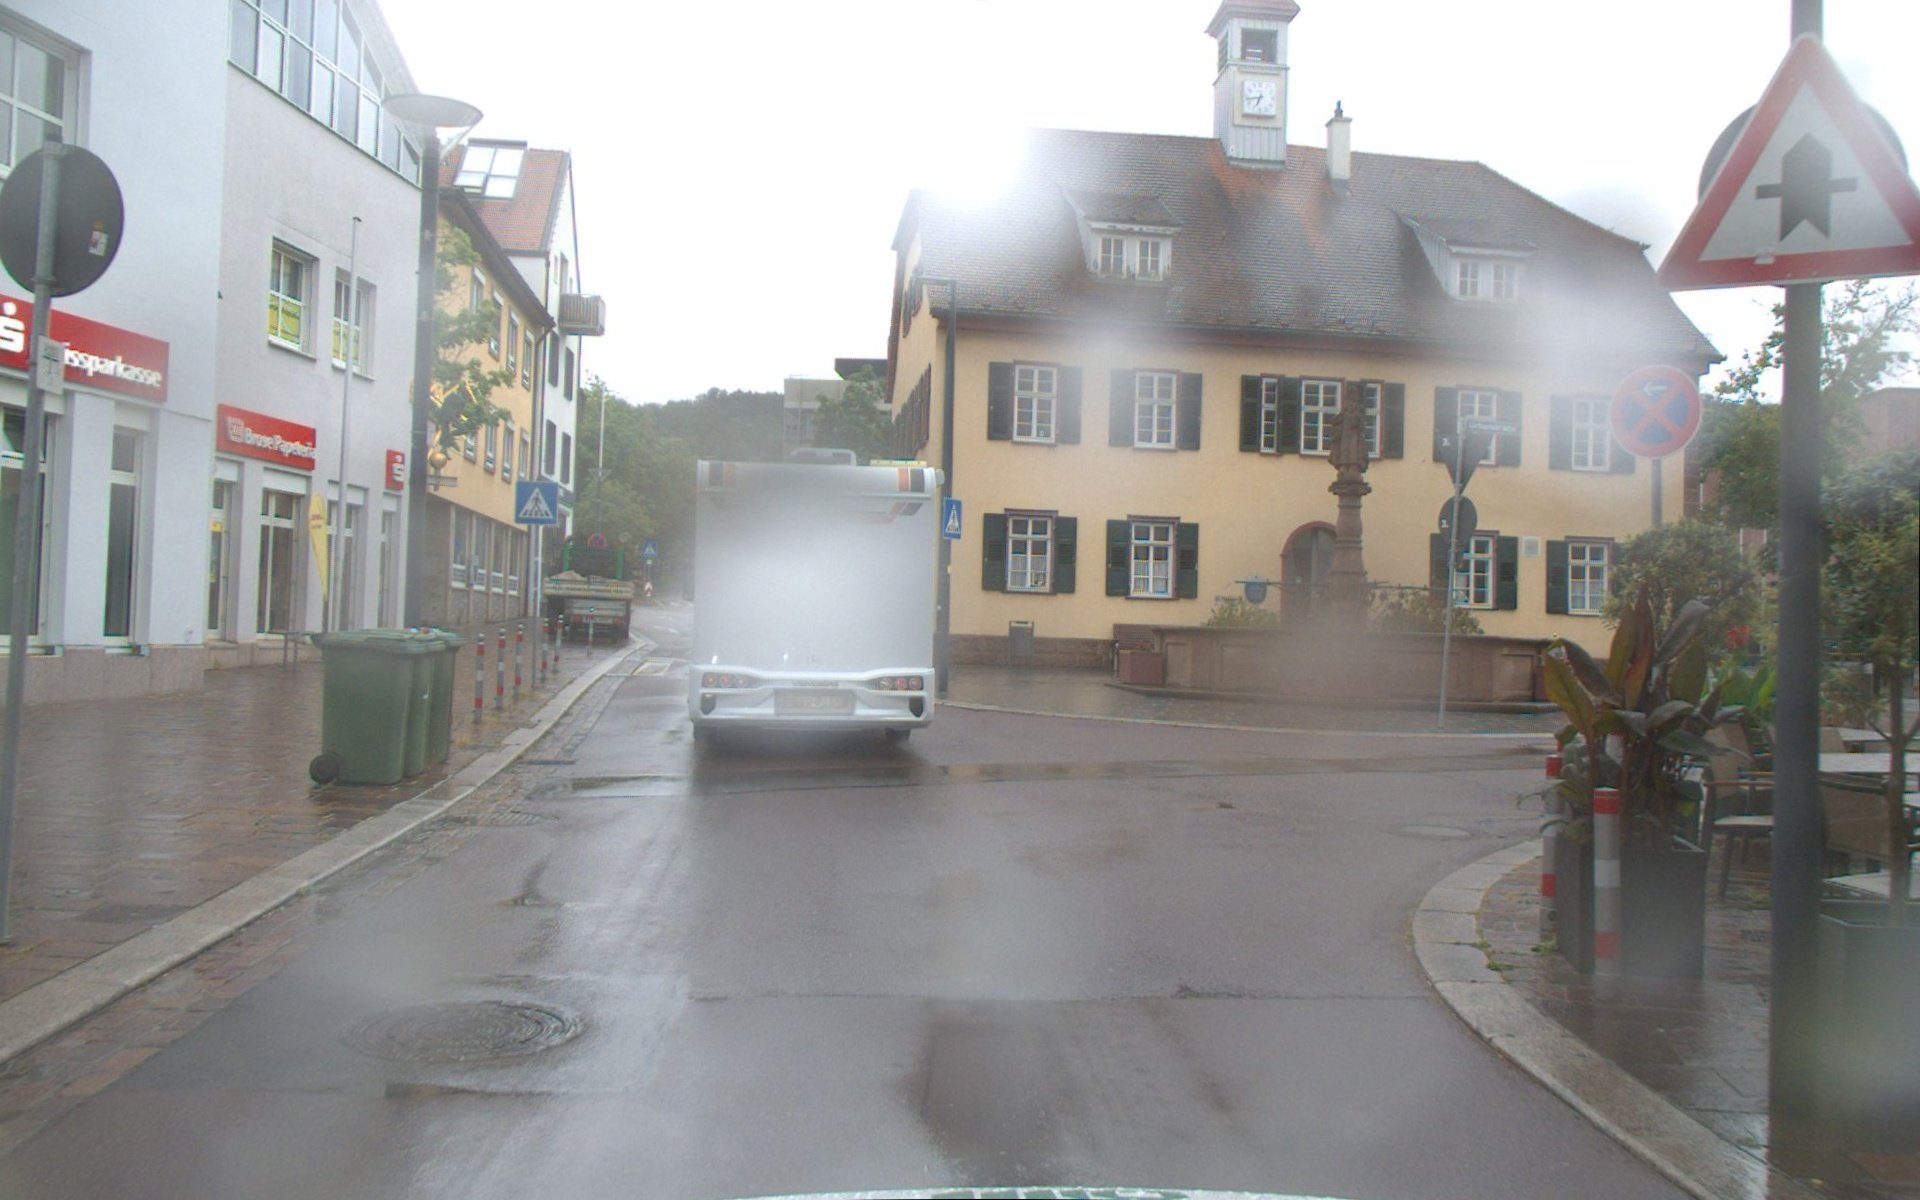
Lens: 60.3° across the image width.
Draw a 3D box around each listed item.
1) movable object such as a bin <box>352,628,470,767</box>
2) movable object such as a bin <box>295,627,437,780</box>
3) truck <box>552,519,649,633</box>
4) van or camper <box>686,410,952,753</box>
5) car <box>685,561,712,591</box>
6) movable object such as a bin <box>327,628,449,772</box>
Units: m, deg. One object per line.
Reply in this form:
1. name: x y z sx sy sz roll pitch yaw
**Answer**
1. movable object such as a bin: -4.475 0.789 13.521 0.751 1.069 0.523 4 -2 -7
2. movable object such as a bin: -4.305 0.742 12.042 0.803 1.069 0.699 1 -2 -7
3. truck: -9.599 -0.537 44.545 2.239 2.806 5.555 1 -2 -10
4. van or camper: -1.636 -0.074 17.762 2.282 2.970 6.381 1 -2 -7
5. car: -19.524 -1.792 123.546 1.957 2.049 3.991 1 -2 -9
6. movable object such as a bin: -4.369 0.759 12.672 0.751 1.069 0.523 1 -2 -7
